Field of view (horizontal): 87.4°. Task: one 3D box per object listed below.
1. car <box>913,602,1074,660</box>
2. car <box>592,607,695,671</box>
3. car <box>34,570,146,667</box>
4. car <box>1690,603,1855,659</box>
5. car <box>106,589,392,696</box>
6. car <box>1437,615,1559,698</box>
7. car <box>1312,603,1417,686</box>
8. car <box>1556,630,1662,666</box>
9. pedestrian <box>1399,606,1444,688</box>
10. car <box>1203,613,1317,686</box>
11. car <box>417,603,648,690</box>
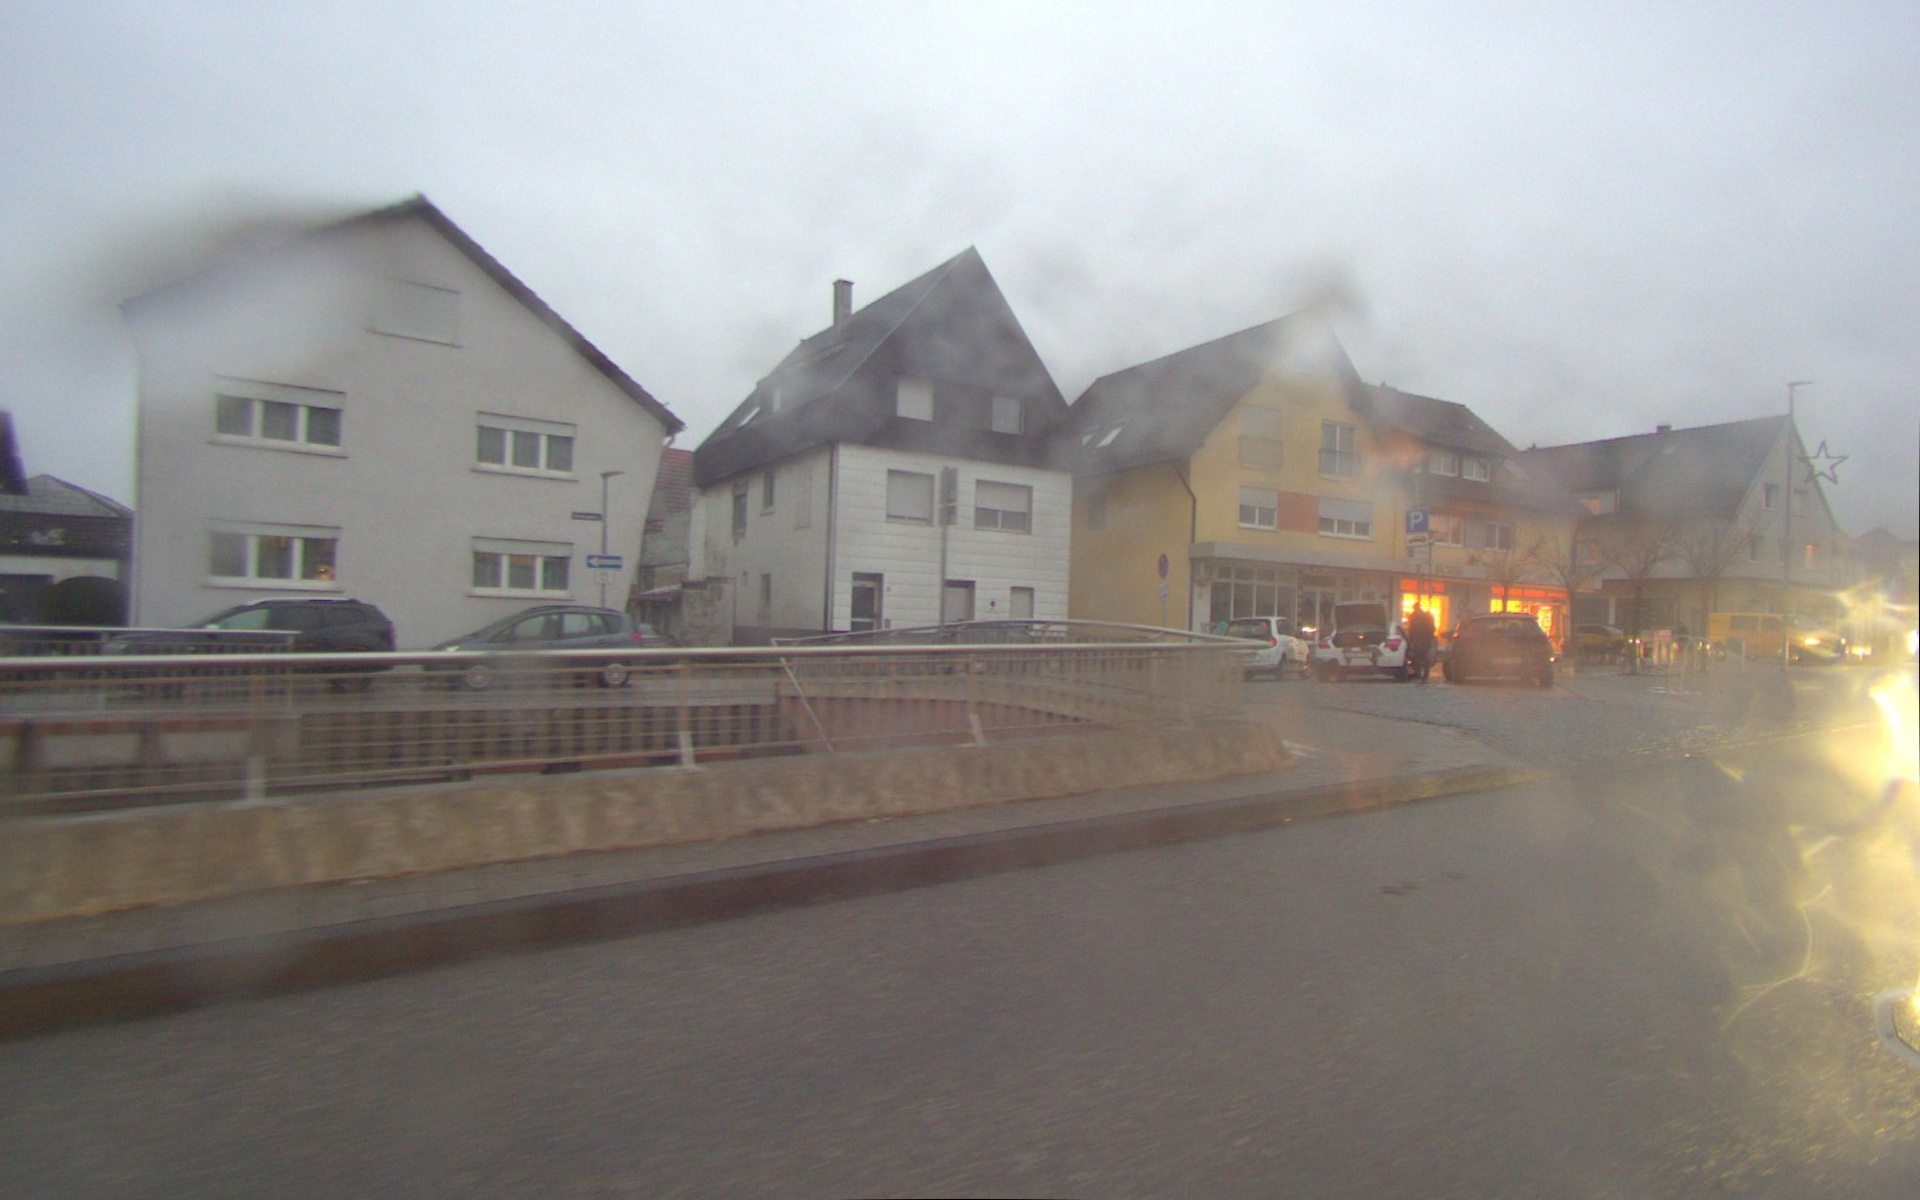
[{"bbox_3d":[1.000,0.889,29.426,4.372,1.520,1.901,1,2,-31],"label":"car"},{"bbox_3d":[-9.255,1.181,29.194,1.701,1.704,3.962,4,-5,-35],"label":"car"},{"bbox_3d":[-19.340,0.475,22.448,1.457,1.962,3.670,0,-3,-34],"label":"car"},{"bbox_3d":[32.215,1.180,40.047,1.966,2.040,4.885,2,0,-14],"label":"car"},{"bbox_3d":[-12.382,0.721,17.703,3.924,1.682,1.686,2,0,-37],"label":"car"},{"bbox_3d":[11.146,1.131,21.075,1.878,1.551,4.178,-1,-2,24],"label":"car"},{"bbox_3d":[9.189,0.984,22.645,1.807,1.692,3.892,-2,-2,27],"label":"car"},{"bbox_3d":[30.128,2.223,46.747,1.691,1.440,3.819,4,-2,-23],"label":"car"},{"bbox_3d":[9.952,1.015,21.691,0.825,1.734,0.724,-1,-1,22],"label":"pedestrian"},{"bbox_3d":[7.553,1.204,25.048,1.734,1.652,3.991,-2,-2,31],"label":"car"},{"bbox_3d":[-8.634,0.915,20.406,4.052,1.590,1.763,2,0,-35],"label":"car"}]
